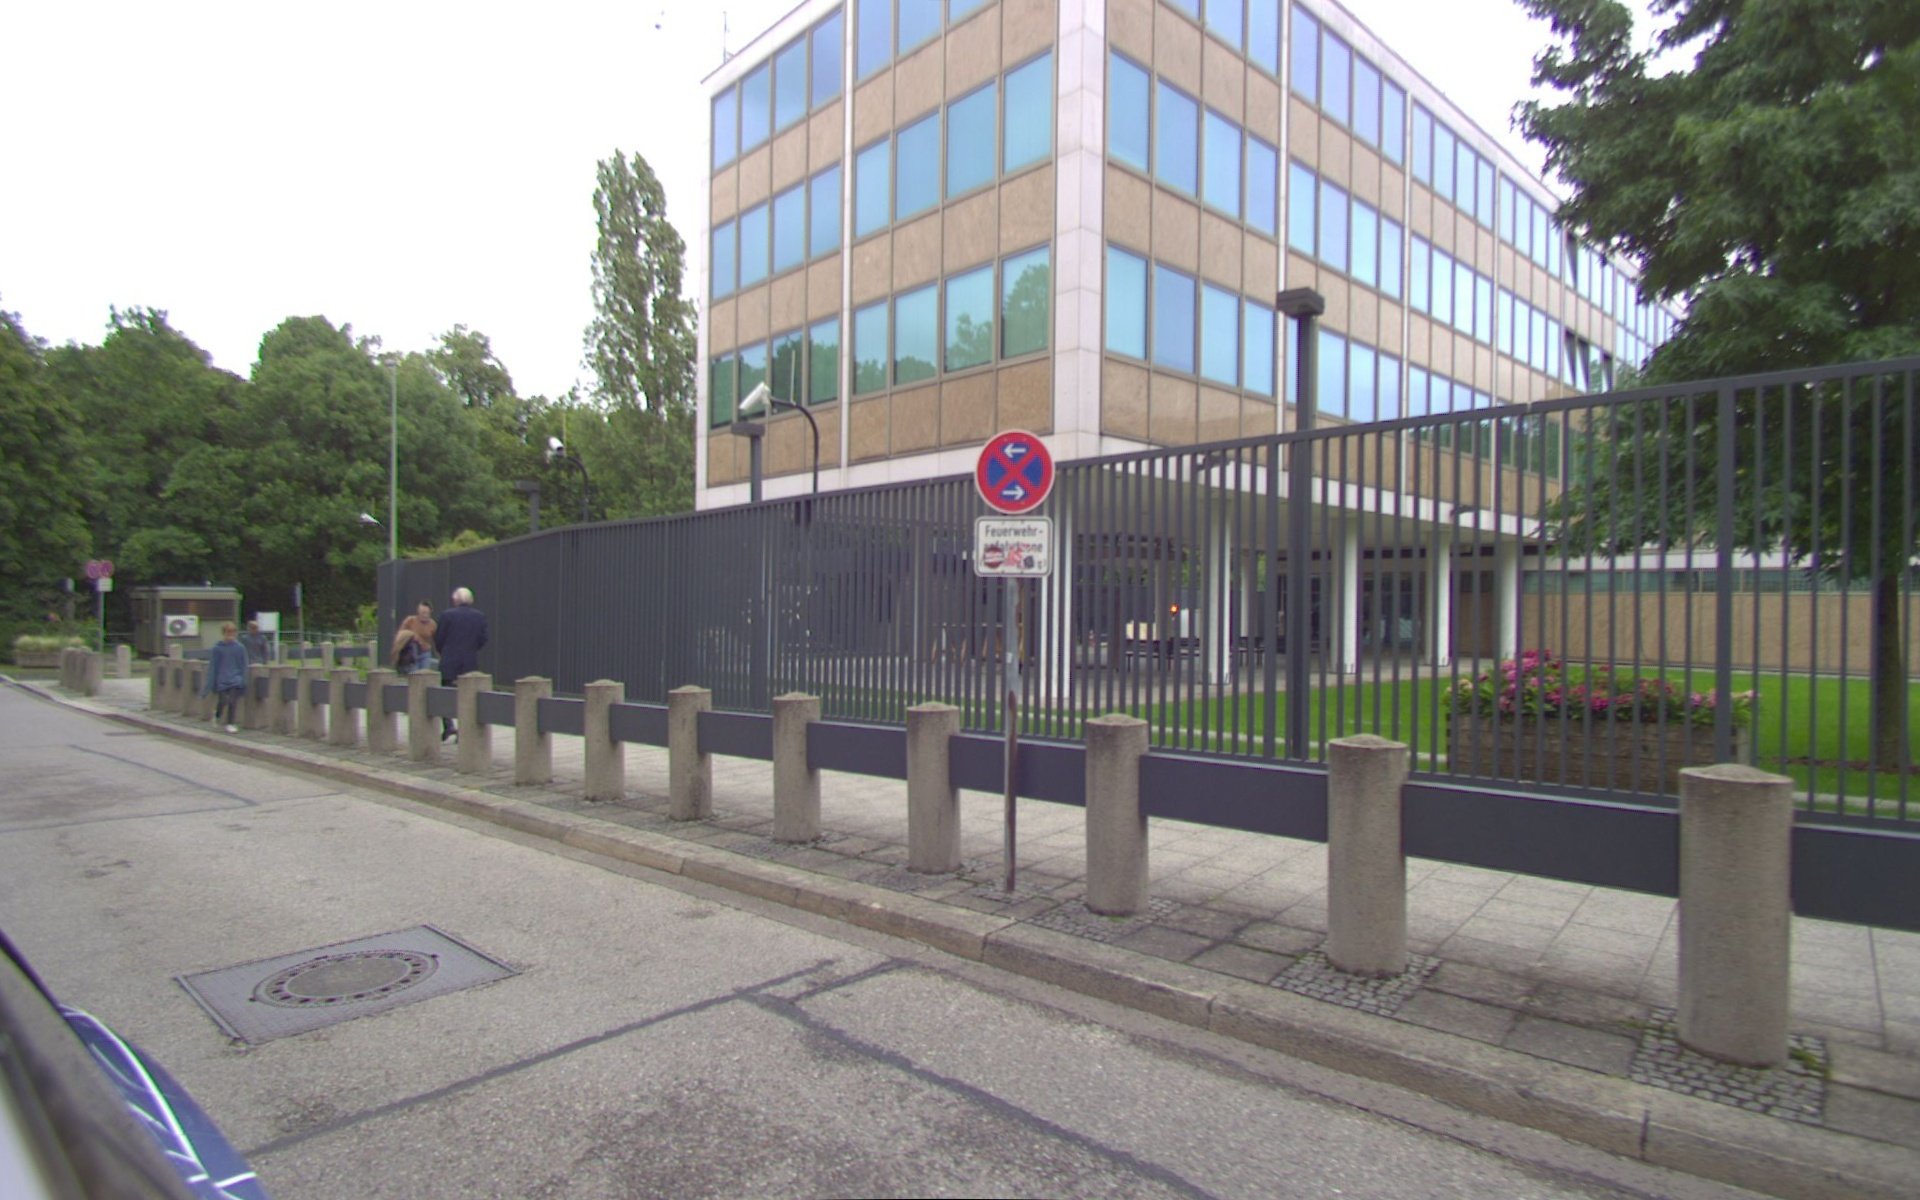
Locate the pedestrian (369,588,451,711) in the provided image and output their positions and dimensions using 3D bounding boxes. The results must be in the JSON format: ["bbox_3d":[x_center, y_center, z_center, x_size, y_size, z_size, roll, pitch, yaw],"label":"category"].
[{"bbox_3d":[-8.192,0.707,15.066,0.814,1.736,0.906,-2,1,-44],"label":"pedestrian"}]

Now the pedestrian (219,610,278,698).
[{"bbox_3d":[-13.254,0.980,18.853,0.767,1.551,0.934,-2,1,-41],"label":"pedestrian"}]

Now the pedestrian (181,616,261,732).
[{"bbox_3d":[-10.015,0.964,13.707,1.078,1.478,0.631,-1,1,42],"label":"pedestrian"}]

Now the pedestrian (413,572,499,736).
[{"bbox_3d":[-5.718,0.597,11.481,0.766,1.782,0.617,-1,-1,41],"label":"pedestrian"}]
